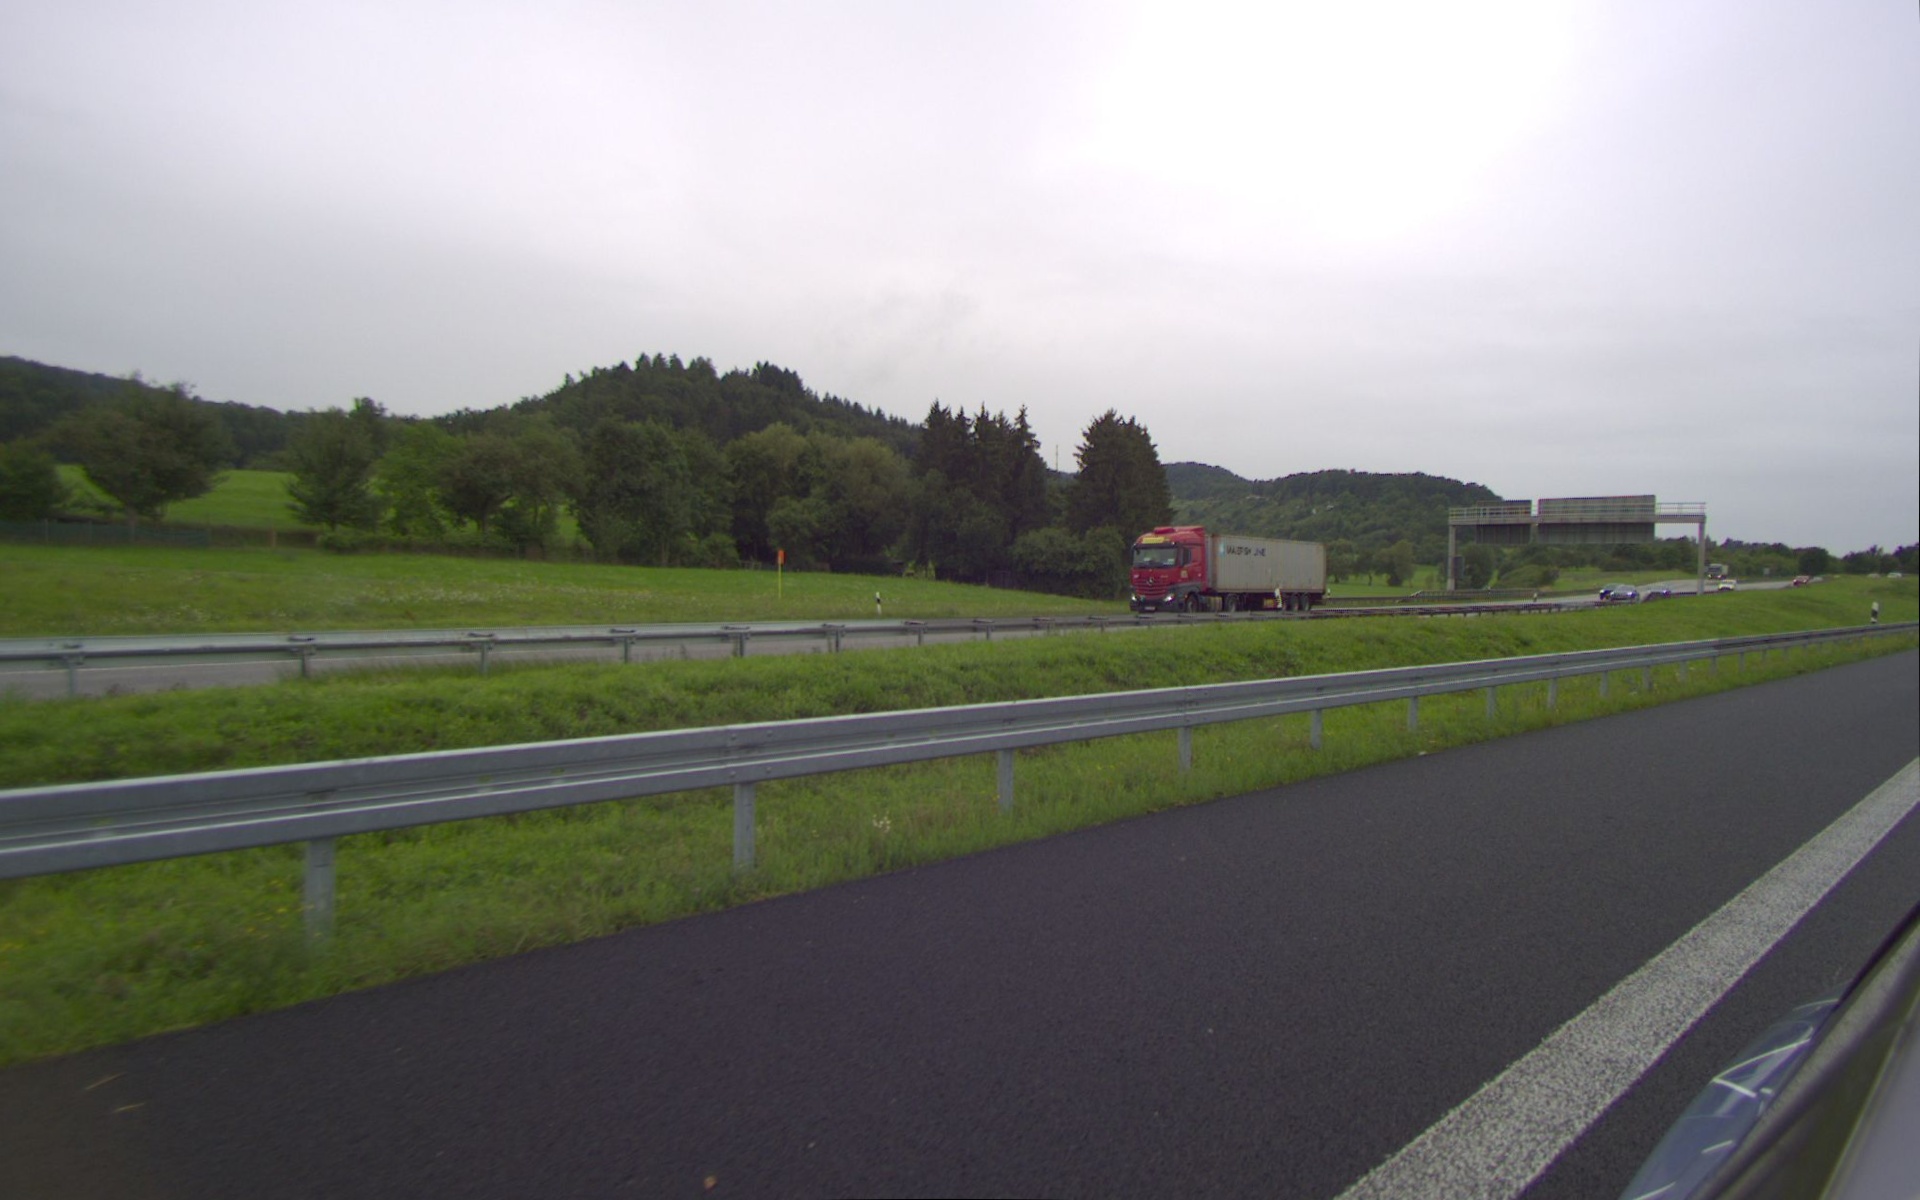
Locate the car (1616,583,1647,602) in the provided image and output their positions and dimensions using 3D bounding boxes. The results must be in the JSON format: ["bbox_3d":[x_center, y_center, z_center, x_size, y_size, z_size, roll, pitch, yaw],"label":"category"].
[{"bbox_3d":[64.274,-0.685,96.811,1.991,1.742,4.255,2,1,40],"label":"car"}]

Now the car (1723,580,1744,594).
[{"bbox_3d":[116.460,-1.998,152.443,3.935,2.039,1.995,0,1,-45],"label":"car"}]

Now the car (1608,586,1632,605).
[{"bbox_3d":[72.500,-0.521,111.233,1.647,2.039,3.940,2,1,41],"label":"car"}]

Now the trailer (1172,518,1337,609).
[{"bbox_3d":[14.857,-1.664,50.015,2.490,4.034,12.210,-1,0,44],"label":"trailer"}]

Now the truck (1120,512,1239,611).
[{"bbox_3d":[9.756,-1.599,44.586,2.507,4.037,5.836,-1,0,43],"label":"truck"}]

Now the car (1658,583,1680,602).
[{"bbox_3d":[78.207,-0.883,111.556,1.646,2.039,3.943,2,1,39],"label":"car"}]

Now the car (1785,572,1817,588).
[{"bbox_3d":[69.298,-1.622,83.366,3.442,1.282,1.482,0,0,-41],"label":"car"}]
